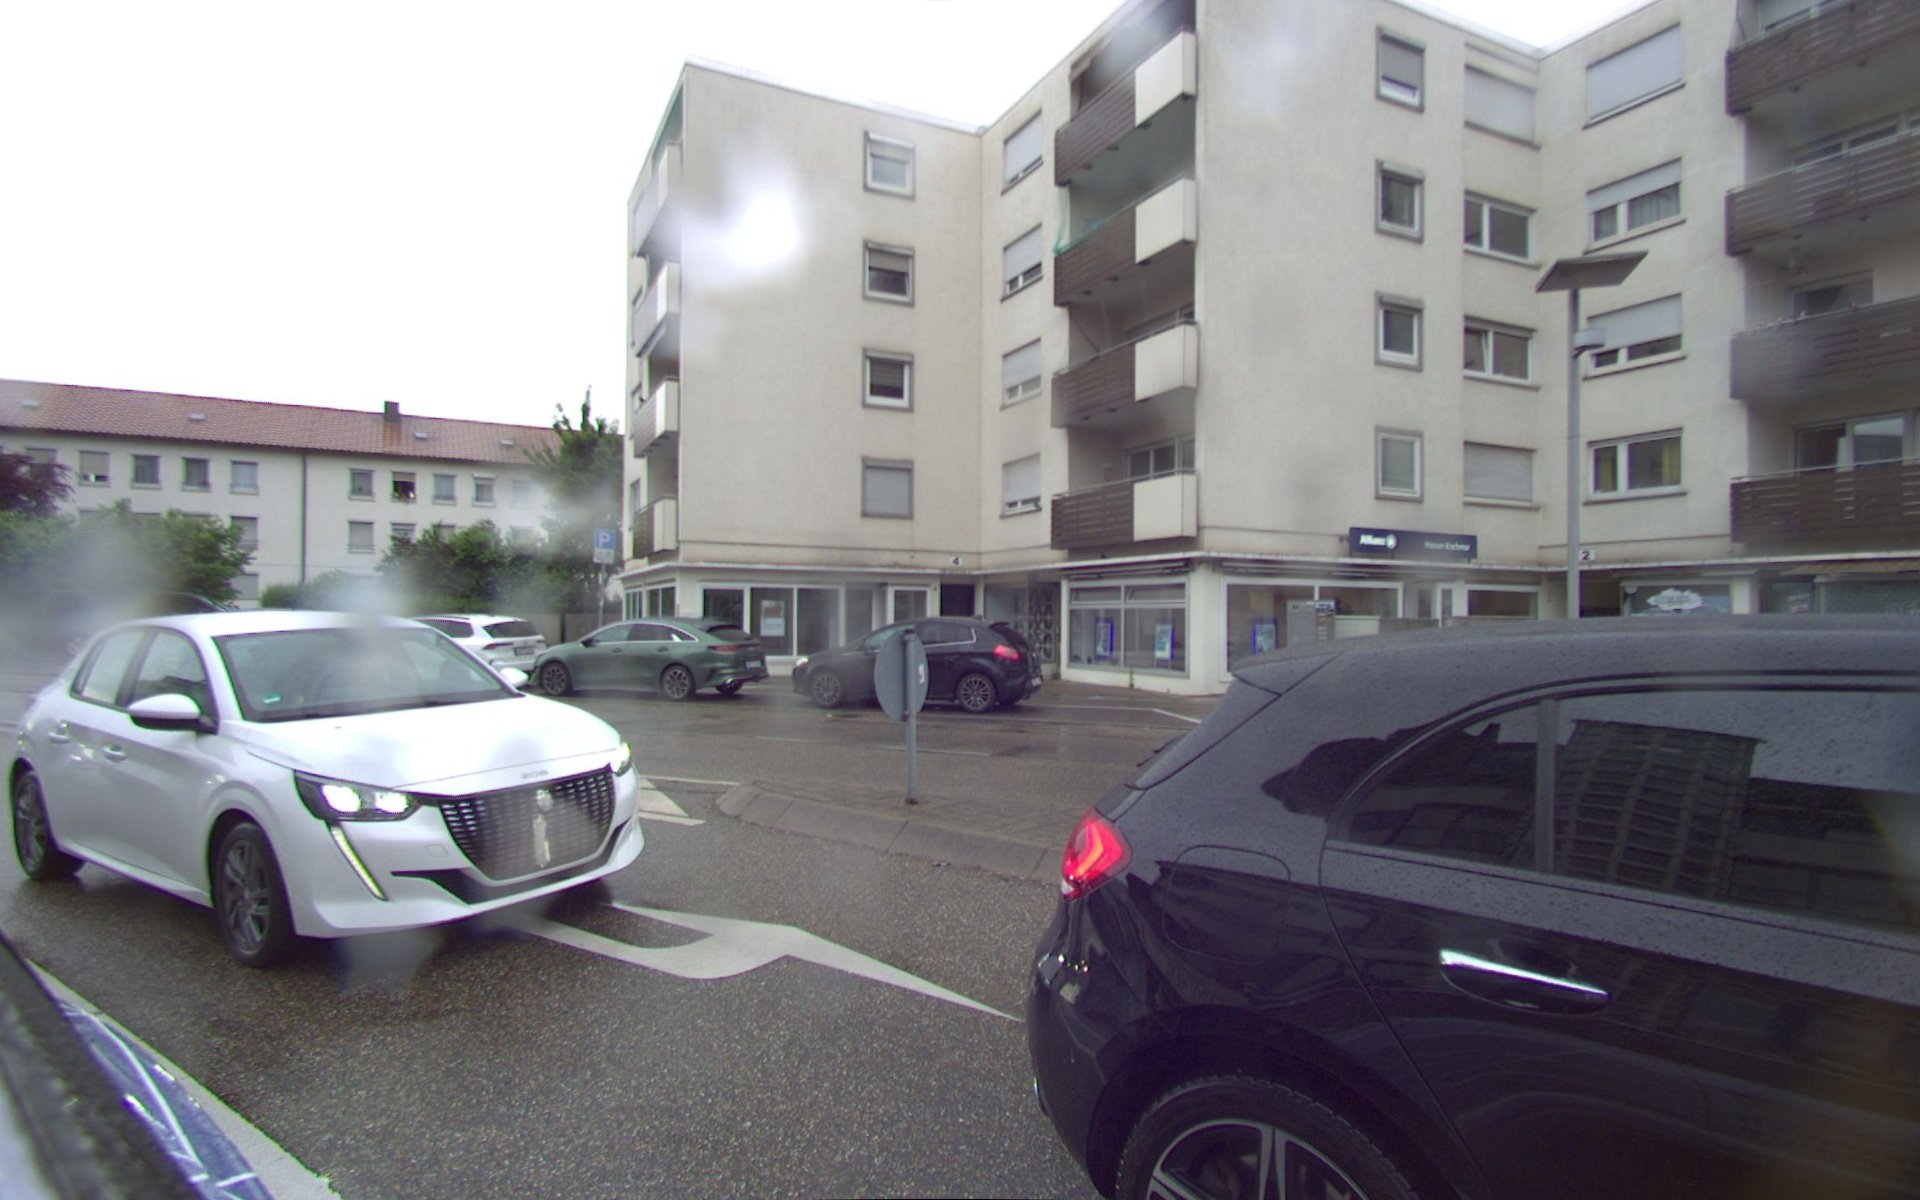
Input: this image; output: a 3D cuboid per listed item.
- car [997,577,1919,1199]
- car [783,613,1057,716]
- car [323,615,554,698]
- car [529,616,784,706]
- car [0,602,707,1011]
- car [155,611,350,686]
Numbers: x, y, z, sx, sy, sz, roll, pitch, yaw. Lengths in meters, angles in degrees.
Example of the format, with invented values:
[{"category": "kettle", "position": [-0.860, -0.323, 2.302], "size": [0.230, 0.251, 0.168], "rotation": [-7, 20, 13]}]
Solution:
[{"category": "car", "position": [2.178, 0.692, 1.320], "size": [4.090, 1.492, 1.646], "rotation": [-2, -1, 40]}, {"category": "car", "position": [-0.643, 0.988, 16.644], "size": [4.156, 1.471, 1.825], "rotation": [0, 0, 20]}, {"category": "car", "position": [-10.465, 1.075, 20.317], "size": [4.313, 1.511, 1.627], "rotation": [0, -1, 20]}, {"category": "car", "position": [-5.537, 1.044, 18.534], "size": [4.241, 1.445, 1.826], "rotation": [0, 0, 19]}, {"category": "car", "position": [-3.368, 0.754, 5.332], "size": [3.882, 1.420, 1.726], "rotation": [-1, 0, 31]}, {"category": "car", "position": [-15.641, 1.034, 22.375], "size": [3.852, 1.517, 1.623], "rotation": [0, -1, 20]}]
